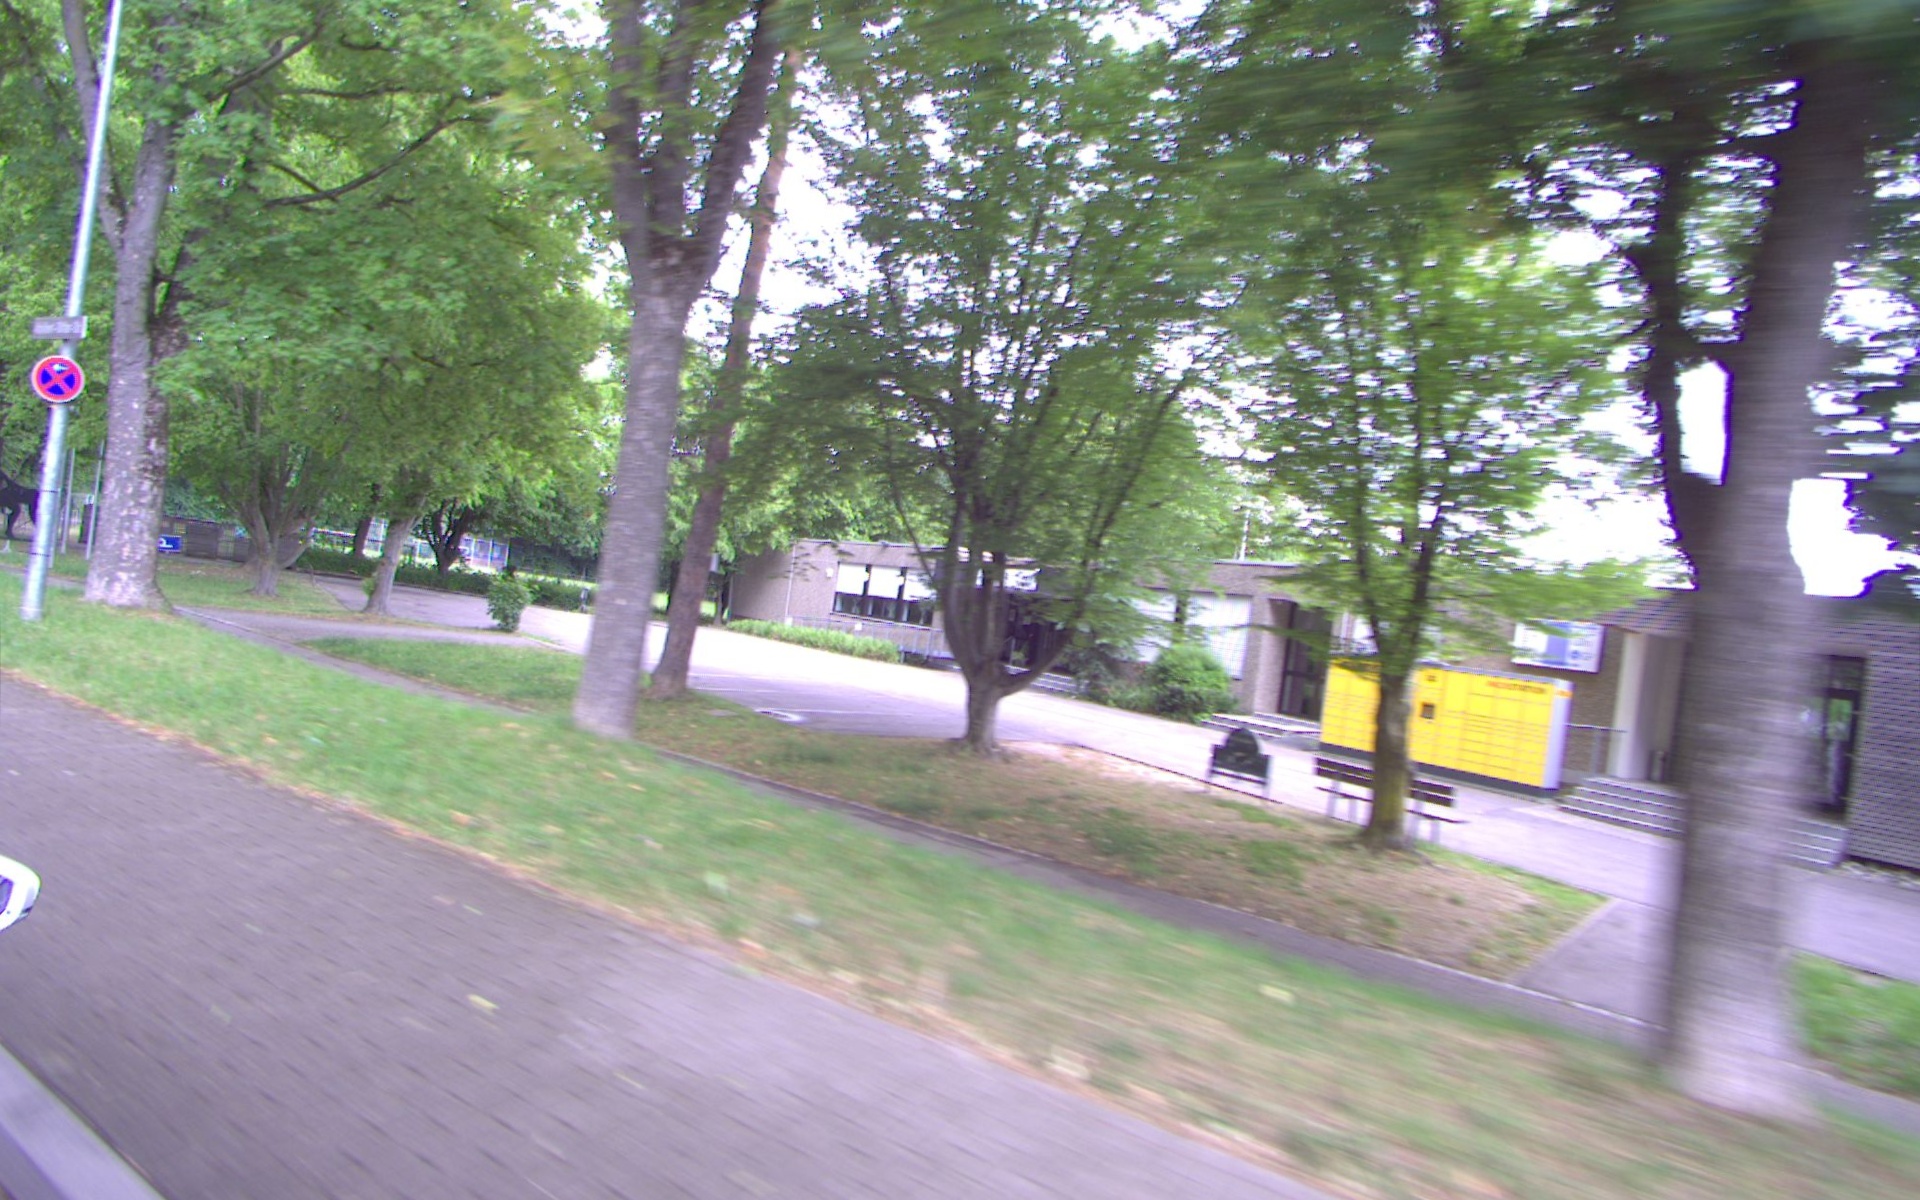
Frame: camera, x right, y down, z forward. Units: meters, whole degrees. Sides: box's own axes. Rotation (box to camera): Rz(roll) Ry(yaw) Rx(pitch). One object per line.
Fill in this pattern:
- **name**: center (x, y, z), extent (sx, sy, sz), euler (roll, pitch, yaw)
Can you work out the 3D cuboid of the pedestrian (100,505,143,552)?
- **pedestrian**: center (-33.601, -2.847, 40.328), extent (1.140, 1.695, 0.786), euler (6, 0, -34)
